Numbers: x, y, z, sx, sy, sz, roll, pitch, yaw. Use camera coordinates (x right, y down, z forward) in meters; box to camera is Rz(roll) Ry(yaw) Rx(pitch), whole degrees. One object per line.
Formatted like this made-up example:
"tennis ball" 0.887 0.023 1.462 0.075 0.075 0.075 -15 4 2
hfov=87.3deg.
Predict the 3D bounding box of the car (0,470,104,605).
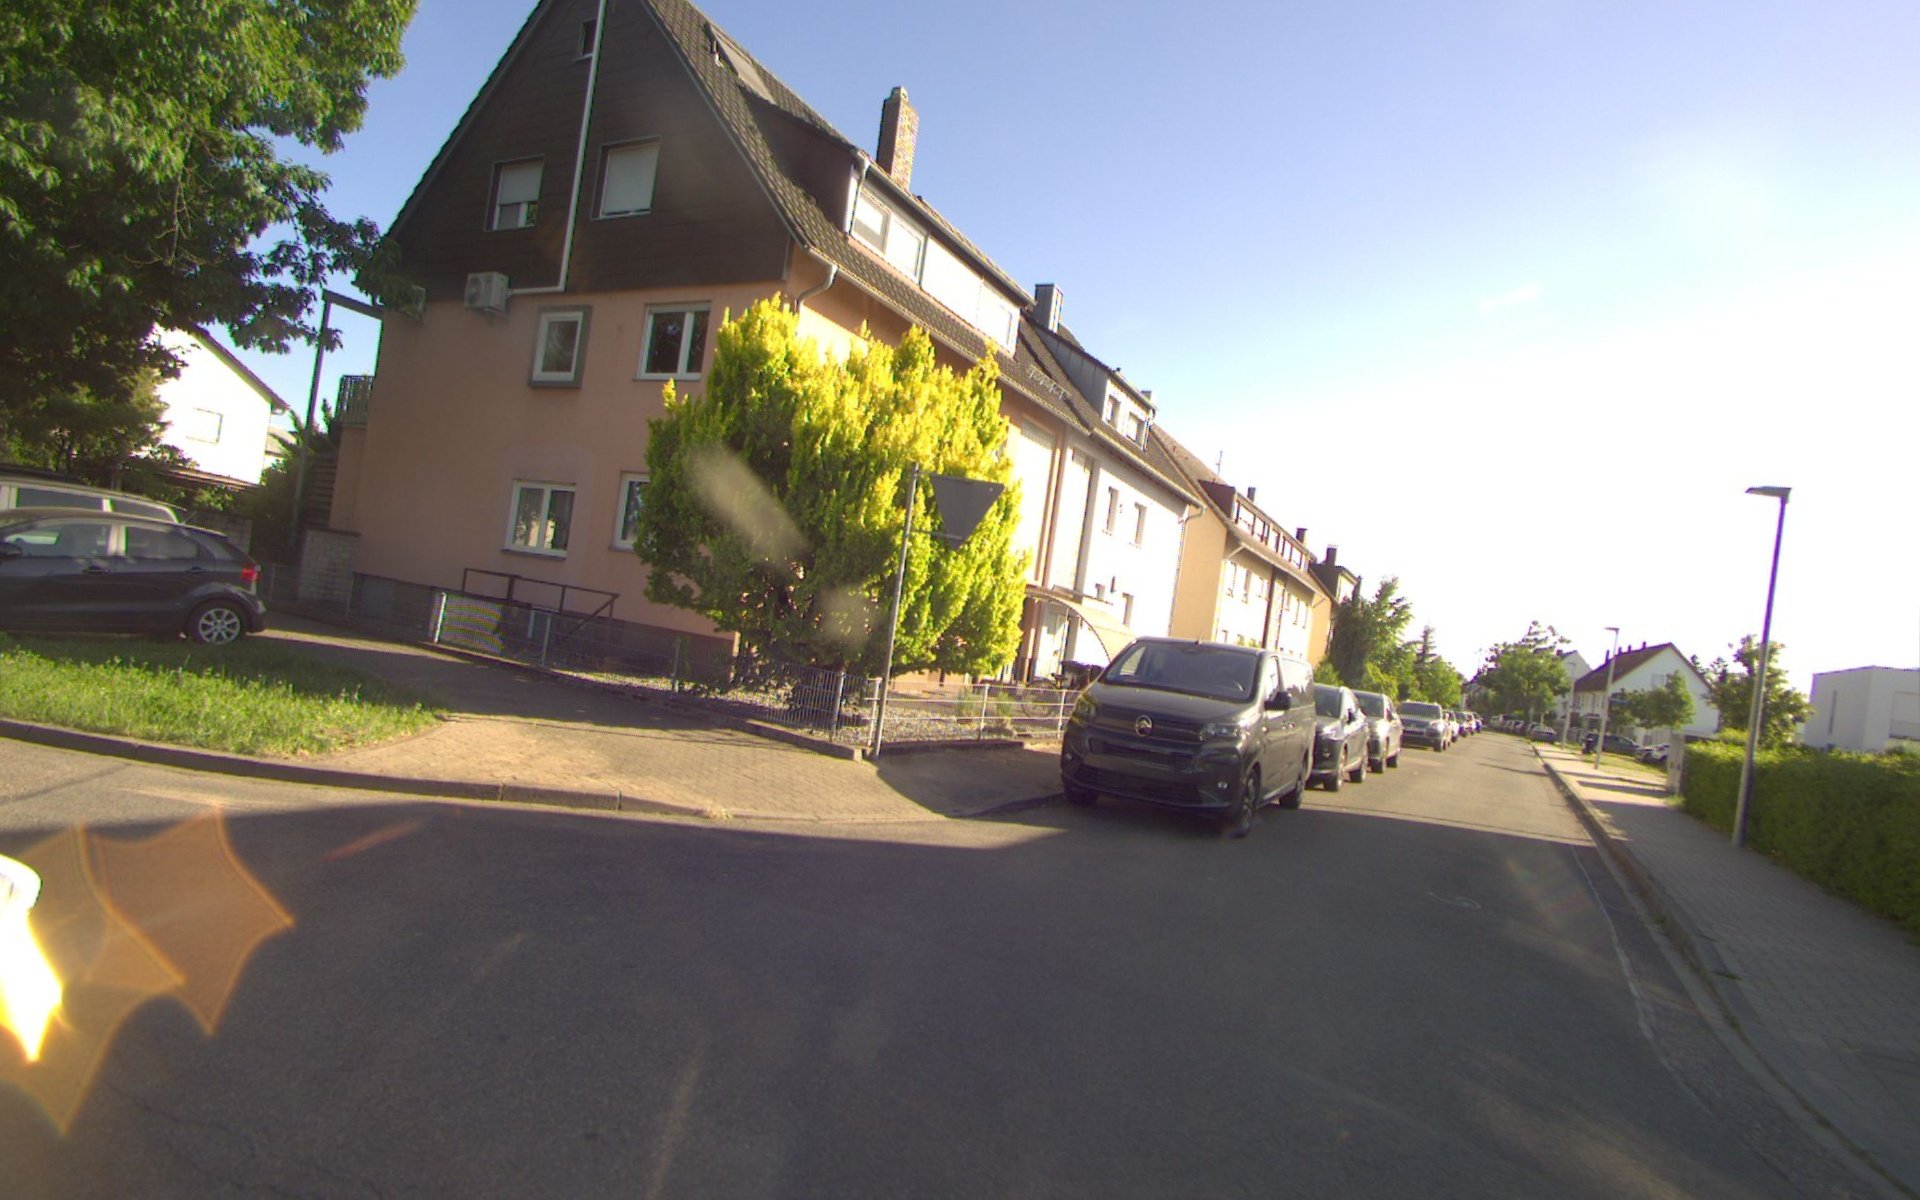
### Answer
"car" -14.828 -1.129 13.792 1.758 1.802 4.224 7 -2 28

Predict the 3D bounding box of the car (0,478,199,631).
"car" -12.289 -0.698 12.127 1.847 1.699 4.513 7 -1 28

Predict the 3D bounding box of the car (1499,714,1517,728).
"car" 64.584 14.229 118.569 1.633 1.368 3.234 7 -2 29

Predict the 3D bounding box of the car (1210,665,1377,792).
"car" 5.699 2.116 16.918 1.880 1.621 3.558 7 -2 29

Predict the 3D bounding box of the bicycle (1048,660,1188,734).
"bicycle" 3.022 1.852 19.433 2.503 1.043 0.648 7 -1 31

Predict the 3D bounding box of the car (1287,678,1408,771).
"car" 8.703 2.732 22.422 1.880 1.621 3.558 7 -2 29

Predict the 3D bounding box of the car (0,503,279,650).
"car" -10.032 -0.309 10.934 1.655 1.378 3.952 6 -1 30

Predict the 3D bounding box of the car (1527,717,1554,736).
"car" 52.373 11.419 90.776 1.880 1.368 3.723 7 -2 29

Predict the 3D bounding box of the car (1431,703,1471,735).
"car" 30.735 7.434 62.919 1.880 1.621 3.723 7 -2 29

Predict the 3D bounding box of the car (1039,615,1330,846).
"car" 2.863 1.397 11.598 1.879 1.836 5.209 7 -2 27

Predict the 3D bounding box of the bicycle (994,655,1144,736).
"bicycle" 1.913 1.680 17.925 2.503 1.043 0.648 7 -1 31

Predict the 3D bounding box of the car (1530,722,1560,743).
"car" 47.564 10.736 81.850 1.880 1.368 3.723 7 -2 29

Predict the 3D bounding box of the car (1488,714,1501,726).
"car" 70.108 15.758 131.874 1.316 1.368 2.711 7 -2 29

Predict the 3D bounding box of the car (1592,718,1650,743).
"car" 53.016 10.482 80.751 3.664 1.368 1.692 7 -2 32

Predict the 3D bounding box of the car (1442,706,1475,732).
"car" 36.616 8.728 73.838 1.880 1.621 3.723 7 -2 29

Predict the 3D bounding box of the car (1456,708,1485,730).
"car" 43.975 10.241 86.622 1.880 1.621 3.723 7 -2 29

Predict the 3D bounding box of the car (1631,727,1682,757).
"car" 59.670 12.145 86.268 3.283 1.914 1.750 7 -1 31

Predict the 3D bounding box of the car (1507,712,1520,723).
"car" 75.233 15.968 136.752 1.394 1.368 2.871 7 -2 29

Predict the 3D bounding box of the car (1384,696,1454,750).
"car" 17.019 4.523 37.199 1.880 1.621 3.723 7 -2 29

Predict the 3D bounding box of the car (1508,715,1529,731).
"car" 60.739 13.359 109.395 1.805 1.368 3.723 7 -2 29
